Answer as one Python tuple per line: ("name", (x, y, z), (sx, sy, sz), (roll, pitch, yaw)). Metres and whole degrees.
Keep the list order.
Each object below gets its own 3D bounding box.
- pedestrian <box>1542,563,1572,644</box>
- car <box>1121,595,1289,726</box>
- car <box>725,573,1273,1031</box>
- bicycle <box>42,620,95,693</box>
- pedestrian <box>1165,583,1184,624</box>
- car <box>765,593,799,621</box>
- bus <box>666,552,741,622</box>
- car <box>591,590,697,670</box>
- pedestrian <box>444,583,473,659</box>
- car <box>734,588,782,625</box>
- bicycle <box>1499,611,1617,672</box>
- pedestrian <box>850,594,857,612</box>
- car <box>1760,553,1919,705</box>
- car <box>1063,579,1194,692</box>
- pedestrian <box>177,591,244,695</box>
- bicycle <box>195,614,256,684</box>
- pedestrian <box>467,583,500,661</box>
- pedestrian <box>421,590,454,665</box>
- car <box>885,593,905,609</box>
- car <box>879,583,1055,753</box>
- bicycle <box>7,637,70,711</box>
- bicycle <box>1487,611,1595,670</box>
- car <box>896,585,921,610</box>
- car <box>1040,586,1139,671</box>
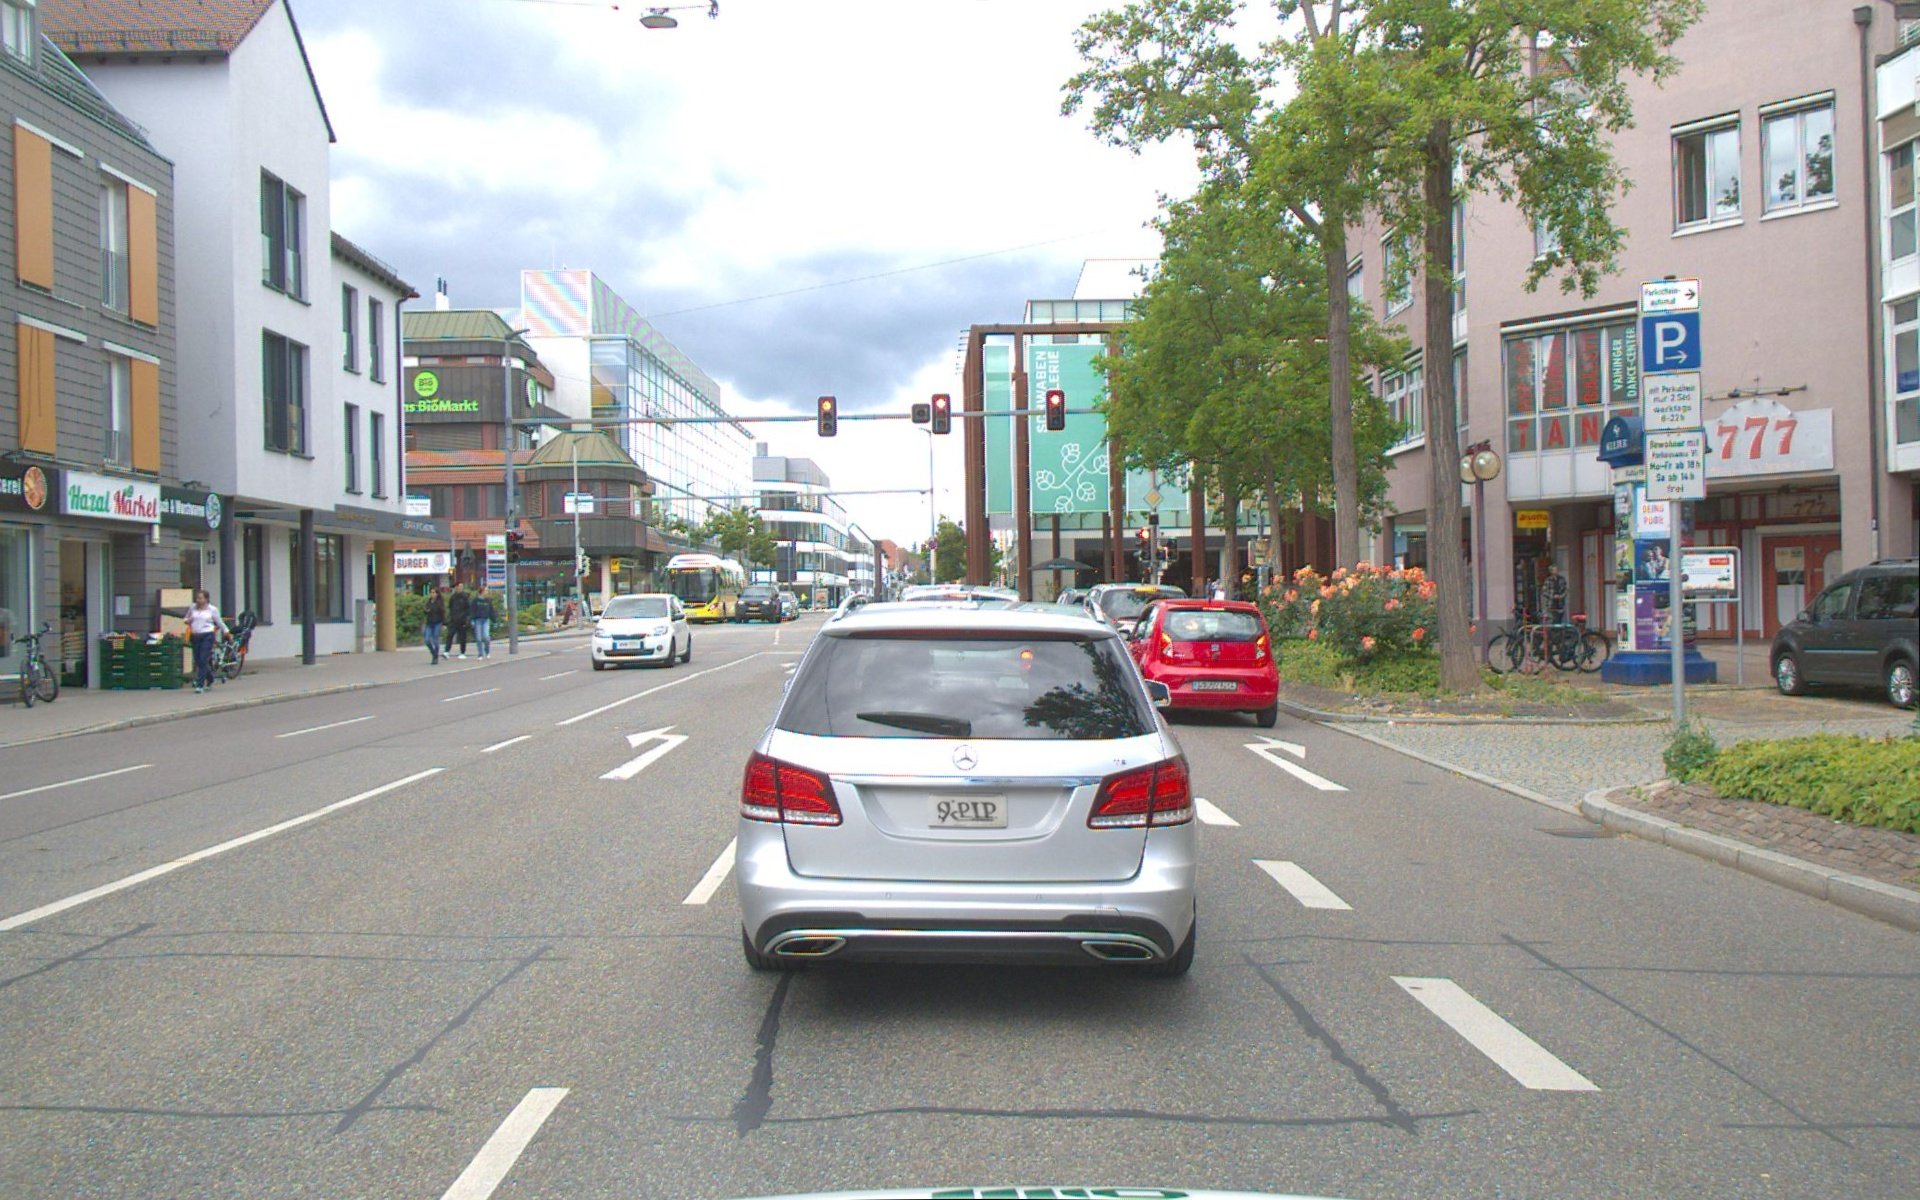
("pedestrian", (13.833, 0.076, 38.317), (0.637, 1.866, 0.610), (-1, 0, 21))
("car", (2.970, 0.692, 20.642), (1.554, 1.468, 3.348), (1, 0, -1))
("car", (0.118, 0.668, 7.633), (1.778, 1.474, 4.369), (1, 0, 0))
("bicycle", (-14.718, 0.924, 27.318), (0.379, 1.147, 1.287), (-1, 0, -10))
("pedestrian", (8.992, 0.144, 69.321), (0.641, 1.679, 0.557), (-1, 0, -15))
("car", (-9.505, 0.359, 88.556), (1.524, 1.417, 3.286), (0, 0, -2))
("bus", (-12.892, -0.644, 83.706), (2.632, 3.318, 8.650), (0, 0, -2))
("car", (-6.414, 0.569, 33.899), (1.542, 1.514, 3.463), (-2, 0, -1))
("pedestrian", (-12.097, 0.500, 39.902), (0.558, 1.806, 0.646), (-1, 0, -7))
("car", (-9.868, 0.286, 80.974), (1.953, 1.735, 4.063), (0, 0, -2))
("bicycle", (10.362, 0.720, 28.687), (1.861, 1.014, 0.468), (-1, 0, 3))
("pedestrian", (-10.568, 0.320, 164.252), (0.510, 1.764, 0.488), (-1, 0, 31))
("car", (12.428, 0.325, 21.768), (1.605, 1.863, 3.963), (-2, 1, -5))
("car", (2.646, 0.525, 26.689), (1.555, 1.662, 3.915), (1, 0, -2))
("pedestrian", (-12.065, 0.685, 26.636), (0.713, 1.638, 0.753), (-1, 0, -1))
("bicycle", (-13.391, 0.867, 30.179), (0.378, 1.207, 1.824), (-1, 0, -4))
("pedestrian", (-11.283, 0.525, 39.173), (0.669, 1.821, 0.647), (-1, 0, -10))
("pedestrian", (-11.830, 0.616, 37.439), (0.640, 1.679, 0.557), (-1, 0, -12))
("car", (-6.537, 0.116, 166.049), (1.763, 1.567, 4.065), (0, 0, 1))
("car", (0.044, 0.621, 16.963), (1.606, 1.554, 3.393), (0, 0, -1))
("bicycle", (-12.985, 1.026, 23.330), (0.320, 0.970, 1.479), (-1, 0, -11))
("bicycle", (10.259, 0.714, 29.240), (1.731, 1.014, 0.447), (-1, 0, 3))
("car", (-4.190, -0.182, 133.976), (1.953, 1.983, 4.949), (0, 0, -2))
("car", (2.600, 0.541, 33.964), (1.555, 1.623, 3.866), (1, 0, -2))
